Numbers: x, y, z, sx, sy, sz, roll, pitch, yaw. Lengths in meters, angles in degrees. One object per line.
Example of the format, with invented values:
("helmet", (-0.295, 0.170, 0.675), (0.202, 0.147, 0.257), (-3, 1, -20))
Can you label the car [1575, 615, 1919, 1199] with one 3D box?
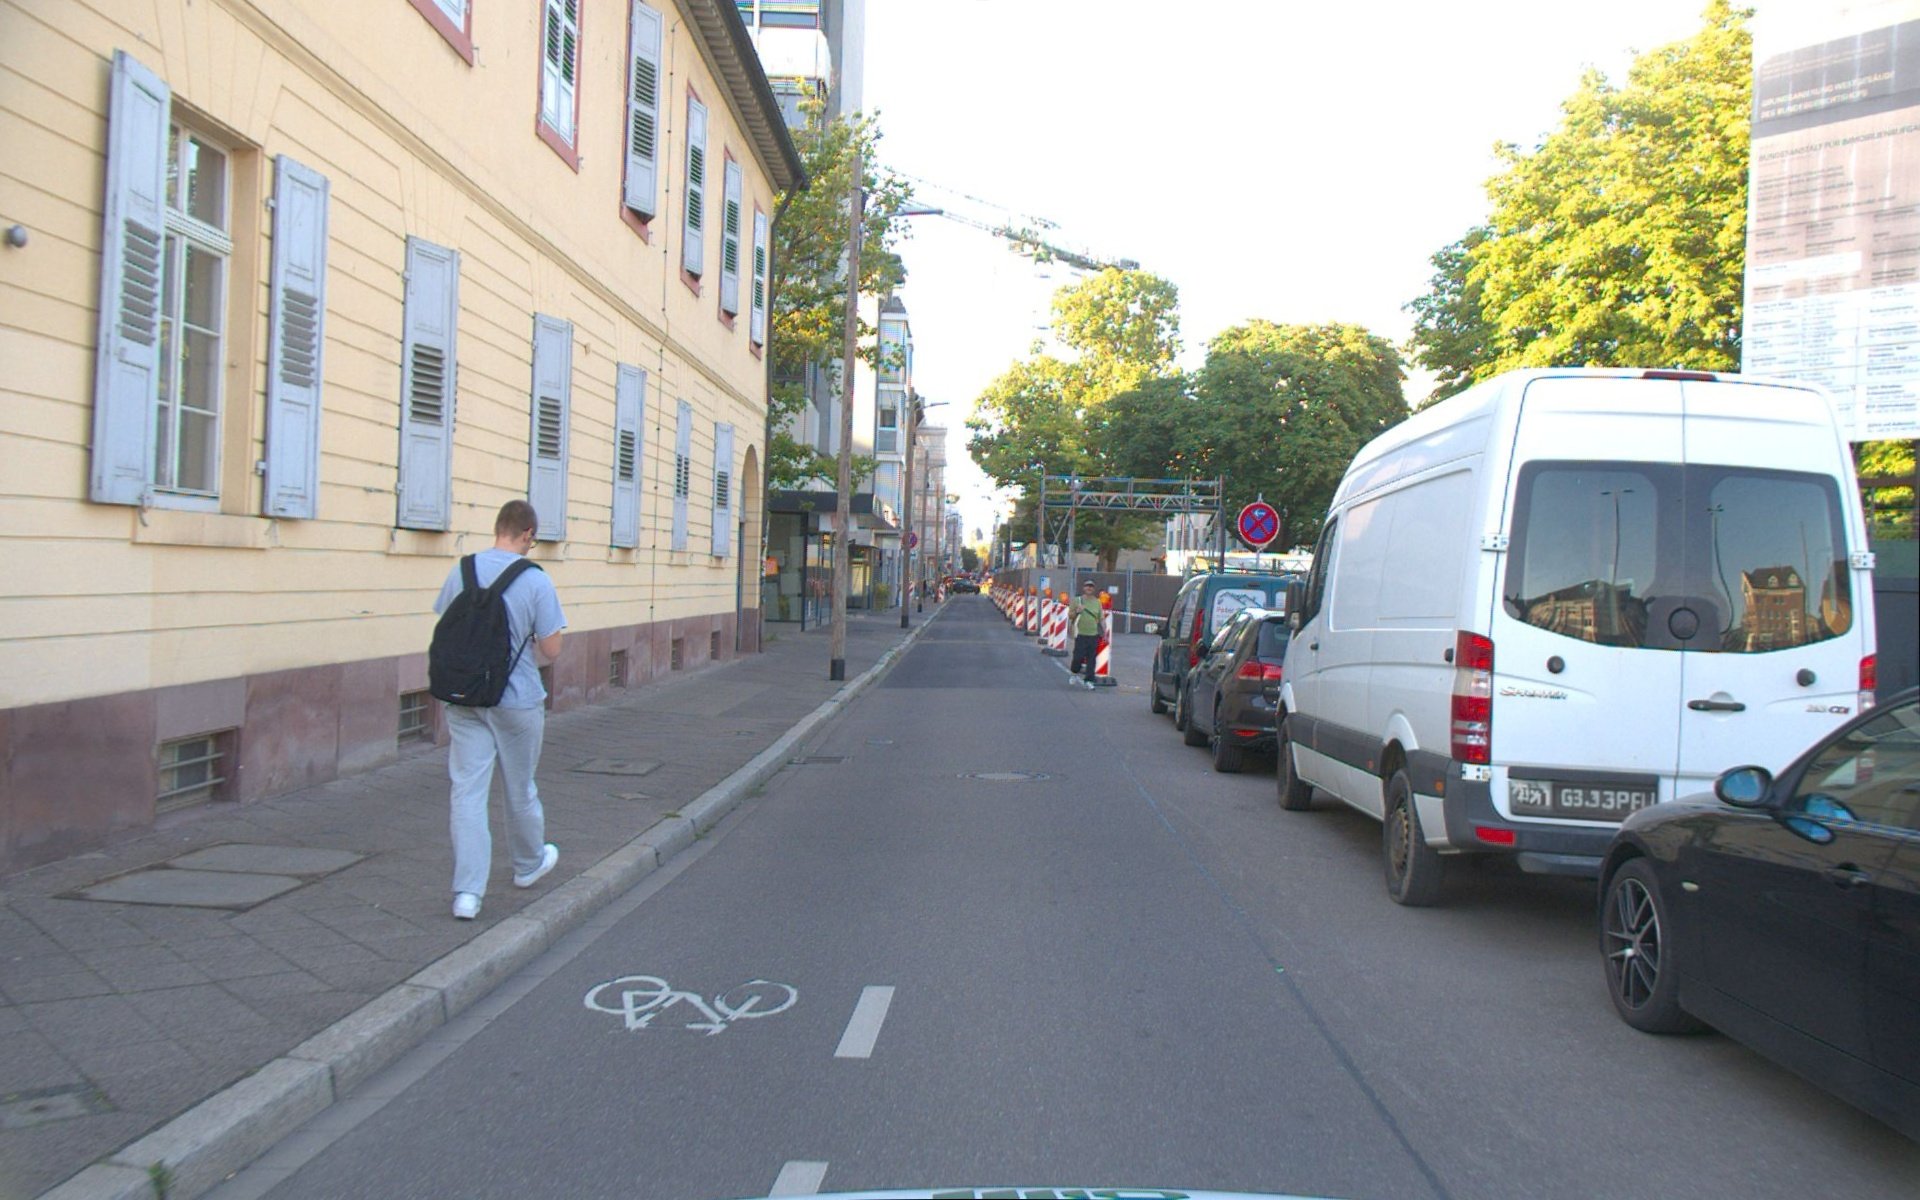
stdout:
("car", (3.330, 0.845, 4.413), (1.693, 1.454, 4.474), (2, 1, 0))

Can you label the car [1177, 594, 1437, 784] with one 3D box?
("car", (3.153, 0.733, 15.806), (1.657, 1.485, 4.100), (2, 1, 1))

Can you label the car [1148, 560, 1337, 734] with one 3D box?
("car", (3.372, 0.502, 20.432), (1.677, 1.881, 4.023), (2, 1, 1))

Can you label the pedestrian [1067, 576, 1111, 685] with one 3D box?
("pedestrian", (2.021, 0.463, 25.914), (0.600, 1.657, 0.819), (2, 0, 3))

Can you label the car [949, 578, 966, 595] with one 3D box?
("car", (-0.231, -1.502, 183.177), (1.820, 1.691, 4.000), (2, 1, 0))

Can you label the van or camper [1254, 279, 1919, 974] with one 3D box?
("van or camper", (3.325, 0.098, 10.093), (2.034, 2.823, 6.451), (2, 0, 2))

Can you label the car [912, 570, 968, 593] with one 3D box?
("car", (-1.402, -1.265, 113.923), (3.670, 1.485, 1.696), (2, 0, -6))

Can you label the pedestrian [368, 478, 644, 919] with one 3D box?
("pedestrian", (-1.929, 0.395, 7.144), (0.858, 1.754, 0.830), (2, 0, 4))
